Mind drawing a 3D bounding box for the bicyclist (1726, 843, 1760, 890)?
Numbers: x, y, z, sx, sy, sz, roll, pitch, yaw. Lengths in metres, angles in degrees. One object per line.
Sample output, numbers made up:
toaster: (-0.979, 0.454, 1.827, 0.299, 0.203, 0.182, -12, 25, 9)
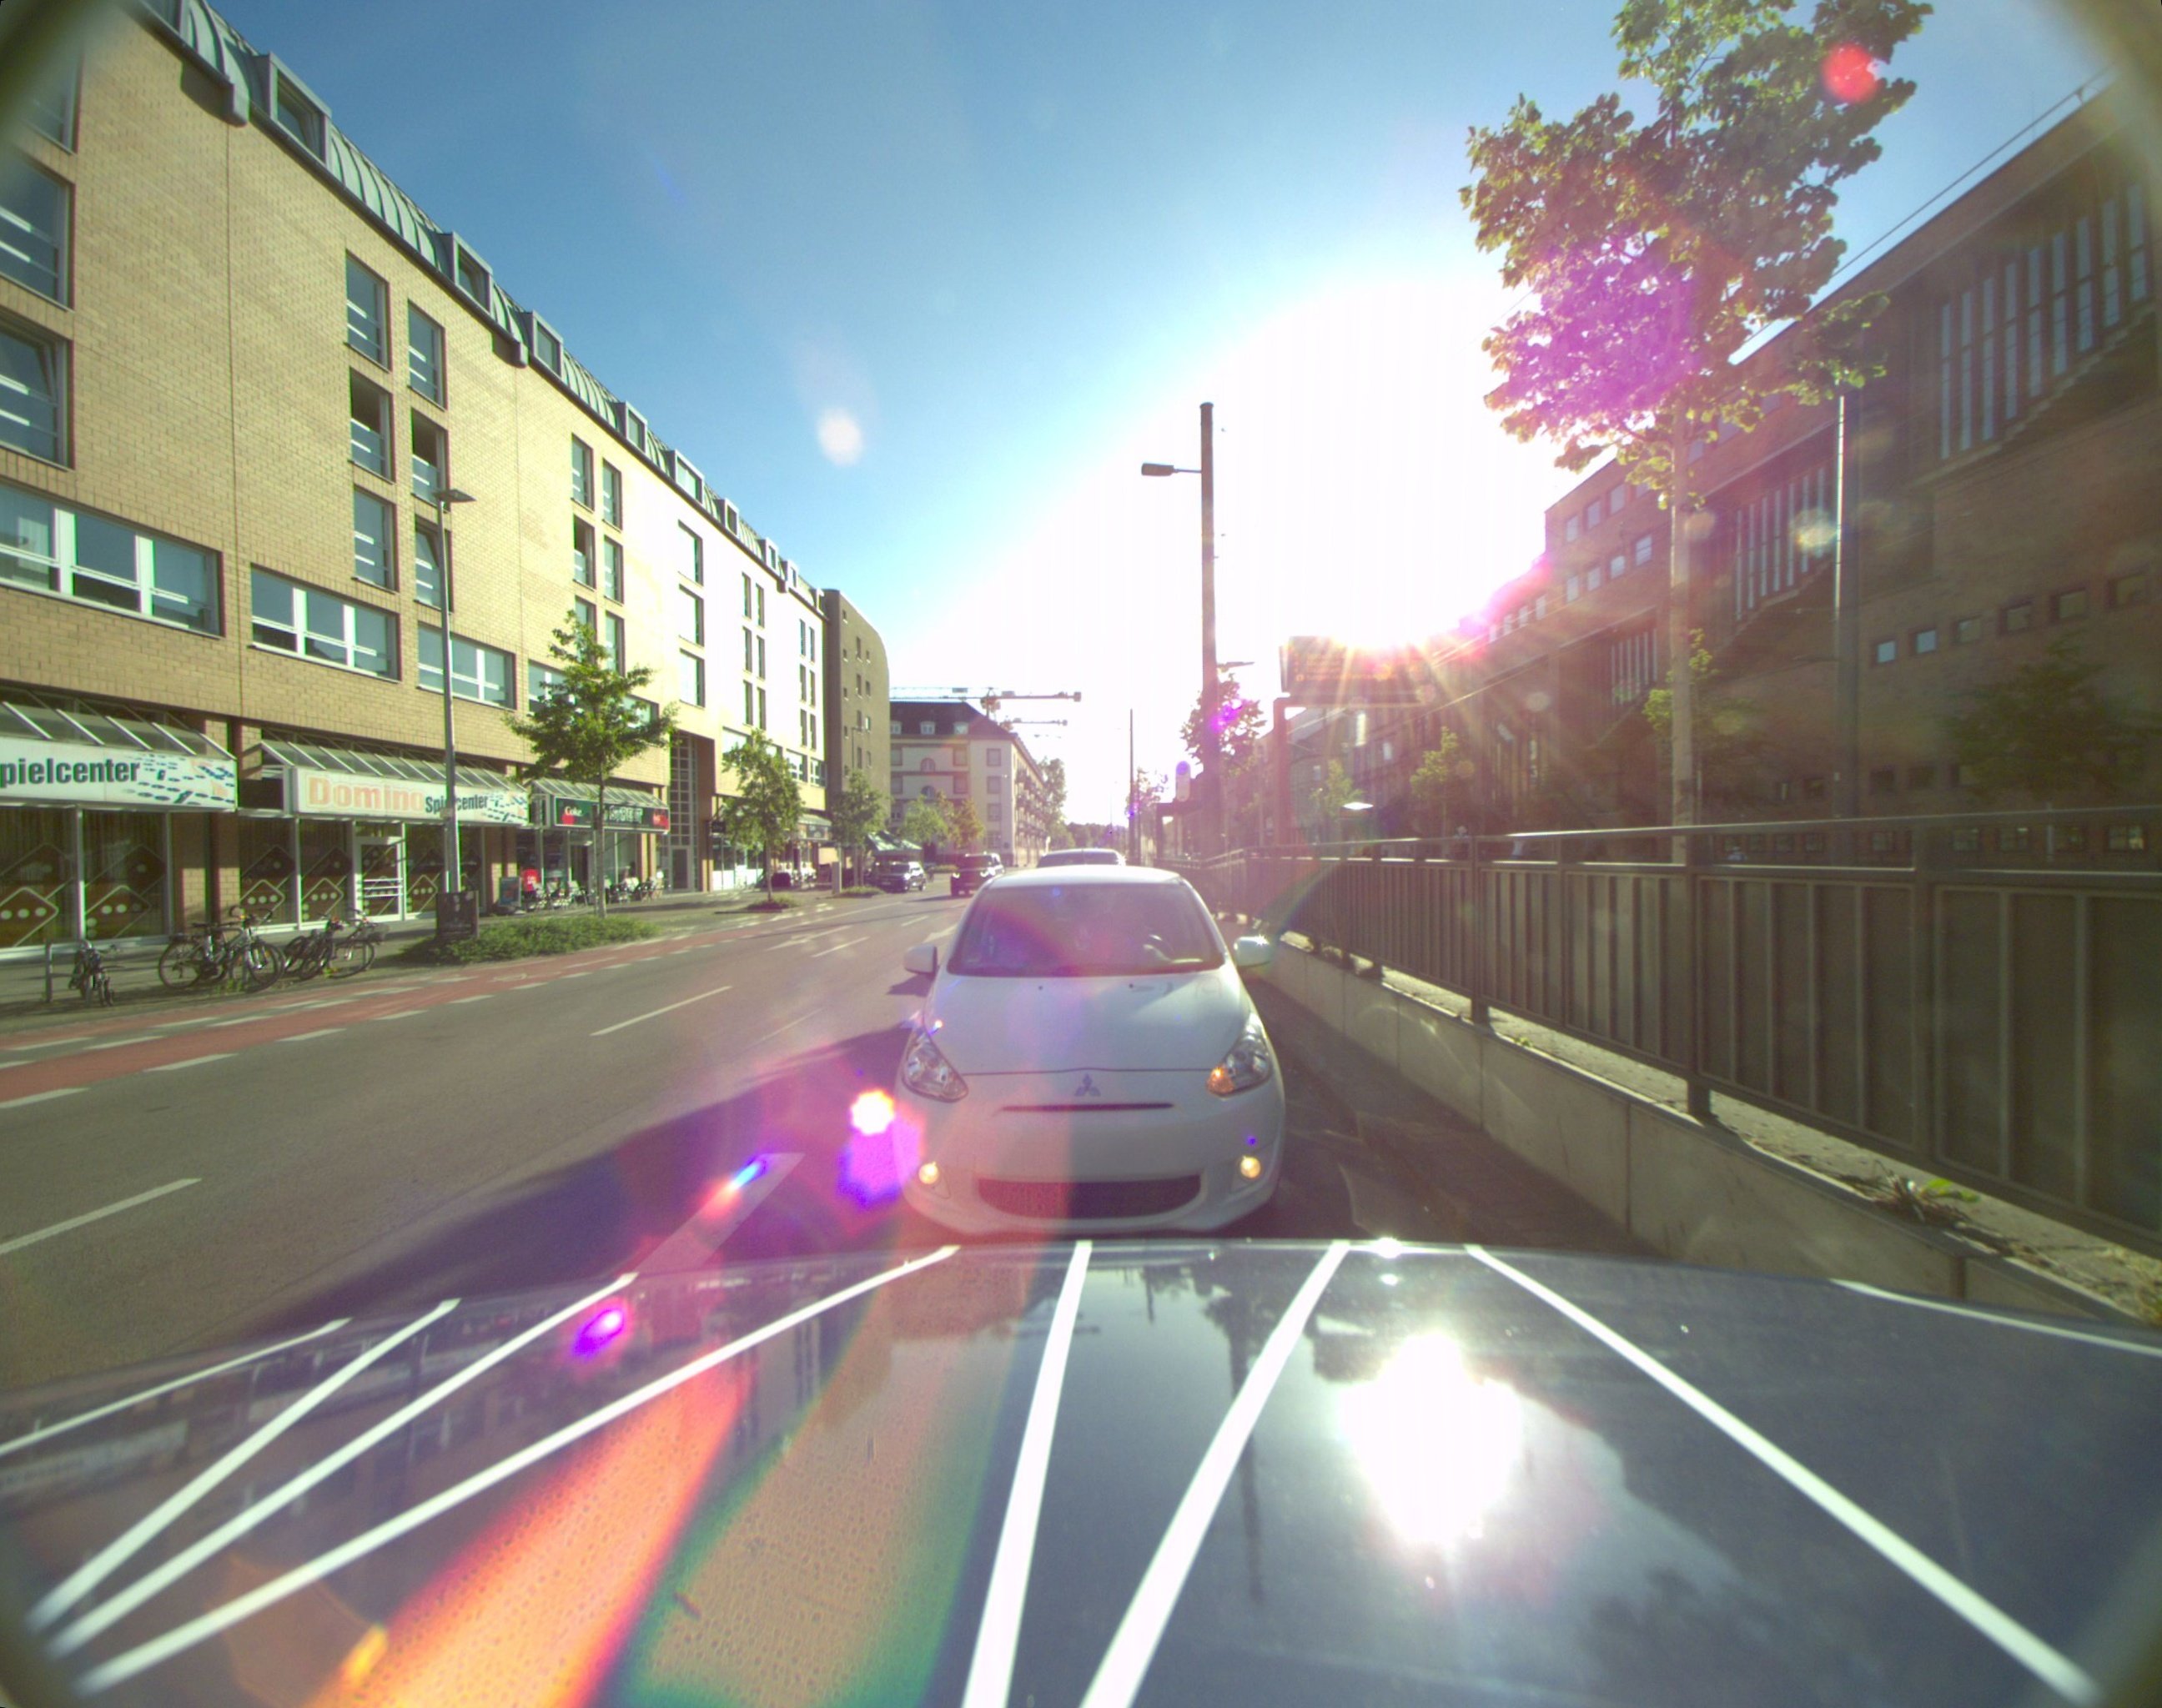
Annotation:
bicyclist: (22.423, 0.417, 25.747, 0.588, 1.525, 0.650, -2, 2, 1)

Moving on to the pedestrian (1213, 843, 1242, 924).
pedestrian: (4.463, 0.882, 23.185, 0.684, 2.428, 0.626, -2, 2, -2)

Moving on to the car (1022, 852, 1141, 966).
car: (-0.002, 0.818, 13.516, 1.720, 1.591, 4.215, -2, 1, 0)

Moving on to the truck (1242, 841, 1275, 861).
truck: (17.554, -0.294, 75.501, 1.999, 1.868, 5.155, 1, 0, 0)

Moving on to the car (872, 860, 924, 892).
car: (-9.934, 1.153, 41.613, 1.779, 1.630, 4.000, -1, 0, 1)

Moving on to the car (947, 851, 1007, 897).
car: (-4.809, 0.877, 35.908, 2.164, 1.904, 4.471, -2, 2, 0)

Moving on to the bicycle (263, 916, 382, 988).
bicycle: (-12.012, 1.531, 12.030, 1.835, 0.980, 0.449, 1, 2, 15)

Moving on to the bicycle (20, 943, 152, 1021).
bicycle: (-12.841, 1.632, 9.803, 1.772, 0.827, 0.366, 1, 2, 15)

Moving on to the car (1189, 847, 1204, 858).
car: (17.763, -0.271, 116.661, 1.655, 1.617, 3.447, -2, 1, 0)

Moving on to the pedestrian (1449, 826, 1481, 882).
pedestrian: (12.601, -0.010, 24.953, 0.685, 1.797, 0.668, -2, 2, 0)

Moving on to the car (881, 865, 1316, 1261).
car: (0.073, 0.889, 5.217, 1.720, 1.422, 4.215, -2, 1, 0)

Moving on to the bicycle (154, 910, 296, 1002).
bicycle: (-12.327, 1.438, 10.947, 1.835, 1.156, 0.565, 1, 2, 15)

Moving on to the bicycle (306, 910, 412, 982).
bicycle: (-11.896, 1.494, 12.517, 1.835, 1.050, 0.350, 1, 2, 15)
